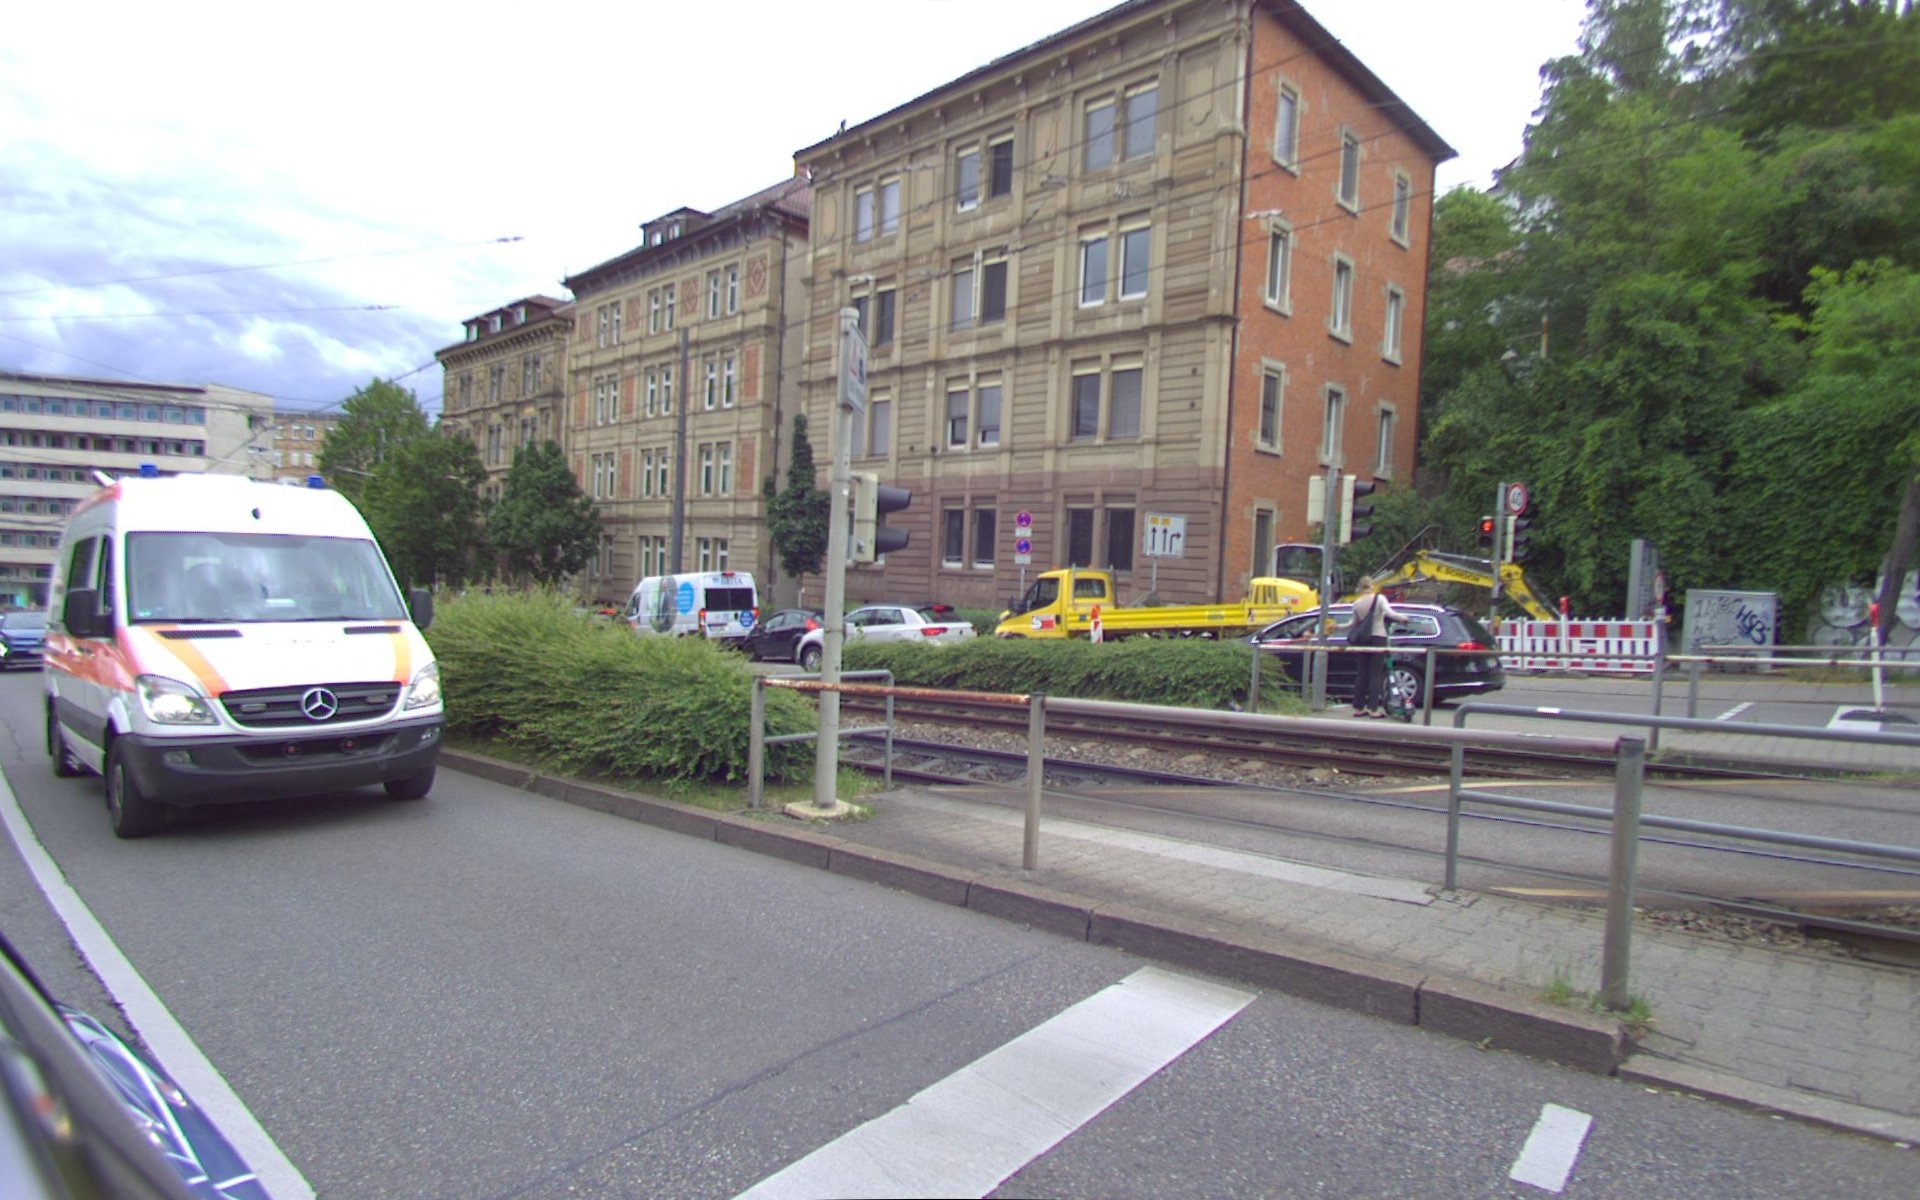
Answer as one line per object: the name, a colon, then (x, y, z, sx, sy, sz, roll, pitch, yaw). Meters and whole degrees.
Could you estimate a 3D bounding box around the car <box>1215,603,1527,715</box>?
car: (6.068, 0.801, 15.194, 3.998, 1.473, 1.760, -1, -1, 41)

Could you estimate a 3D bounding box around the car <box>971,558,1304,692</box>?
car: (3.579, 0.467, 21.625, 6.749, 2.454, 2.416, 0, 0, 40)

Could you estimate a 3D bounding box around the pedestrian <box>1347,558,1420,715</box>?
pedestrian: (5.152, 0.442, 12.345, 0.787, 1.831, 0.736, 0, -2, 21)

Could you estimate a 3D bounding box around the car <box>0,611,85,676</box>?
car: (-24.976, 1.123, 27.229, 1.904, 1.584, 4.183, -2, 1, -44)

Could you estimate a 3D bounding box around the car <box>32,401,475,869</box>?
car: (-6.318, 0.234, 8.649, 5.856, 2.720, 2.011, -1, -1, 44)

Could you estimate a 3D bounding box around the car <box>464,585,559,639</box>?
car: (-17.192, 0.479, 38.741, 2.288, 1.954, 3.439, 1, -2, -44)

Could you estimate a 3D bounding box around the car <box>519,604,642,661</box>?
car: (-10.984, 0.912, 29.175, 1.845, 1.531, 3.952, 1, -2, -45)

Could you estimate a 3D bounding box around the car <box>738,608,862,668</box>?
car: (-4.295, 0.960, 26.802, 1.624, 1.465, 3.570, 0, -1, -41)

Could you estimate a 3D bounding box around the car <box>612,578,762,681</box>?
car: (-8.294, 0.857, 30.515, 4.784, 2.844, 2.185, -1, -2, 43)

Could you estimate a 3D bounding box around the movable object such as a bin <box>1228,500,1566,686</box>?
movable object such as a bin: (9.559, -0.086, 22.398, 6.530, 3.575, 2.724, -1, -1, 33)

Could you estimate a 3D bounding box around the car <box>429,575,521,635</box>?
car: (-19.824, 0.239, 41.307, 2.210, 2.305, 4.003, 1, -2, -44)

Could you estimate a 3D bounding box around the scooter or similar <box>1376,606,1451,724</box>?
scooter or similar: (5.358, 0.739, 12.032, 0.528, 1.306, 1.492, 0, -1, 13)

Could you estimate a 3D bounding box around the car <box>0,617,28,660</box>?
car: (-37.328, 1.455, 39.076, 1.970, 1.564, 4.322, 1, -2, -43)

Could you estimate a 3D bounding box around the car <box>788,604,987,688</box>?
car: (-1.554, 0.891, 20.910, 3.994, 1.579, 1.687, -1, -1, 37)
